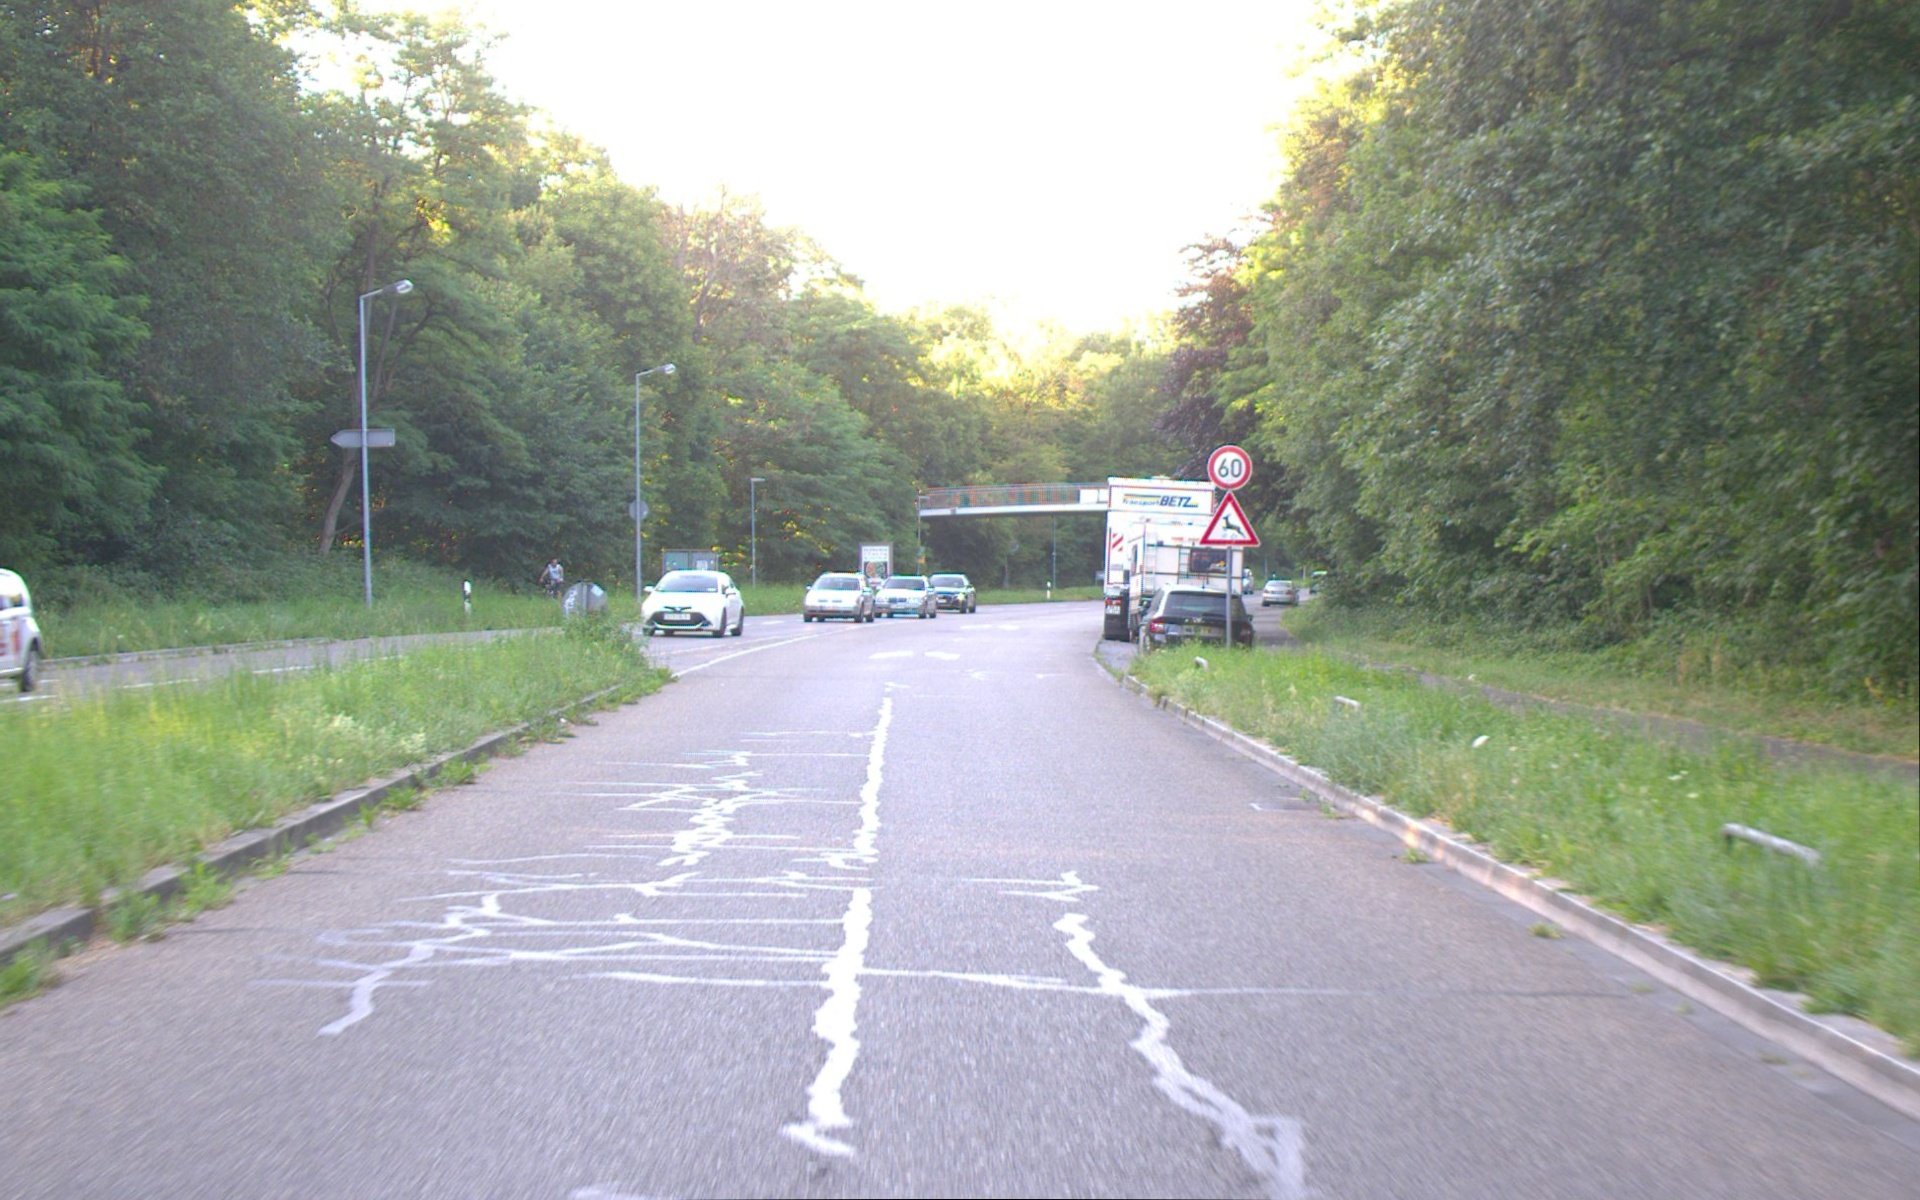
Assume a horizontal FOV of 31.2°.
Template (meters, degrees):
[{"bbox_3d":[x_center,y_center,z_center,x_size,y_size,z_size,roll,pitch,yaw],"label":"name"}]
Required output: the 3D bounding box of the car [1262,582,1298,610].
[{"bbox_3d":[16.914,-0.212,181.704,1.892,1.442,4.109,0,0,6],"label":"car"}]

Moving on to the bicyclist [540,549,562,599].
[{"bbox_3d":[-12.456,-0.793,104.655,0.620,1.506,0.847,-1,1,-8],"label":"bicyclist"}]

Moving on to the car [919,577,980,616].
[{"bbox_3d":[-0.385,-0.153,132.563,1.892,1.435,4.769,2,1,5],"label":"car"}]

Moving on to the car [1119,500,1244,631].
[{"bbox_3d":[5.035,-0.785,78.895,2.408,2.848,5.932,1,0,0],"label":"car"}]

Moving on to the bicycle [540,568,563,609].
[{"bbox_3d":[-12.451,-0.345,104.643,0.630,1.213,2.262,0,1,-8],"label":"bicycle"}]

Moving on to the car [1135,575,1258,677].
[{"bbox_3d":[3.549,0.369,52.117,1.663,1.401,3.942,3,0,2],"label":"car"}]

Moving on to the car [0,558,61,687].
[{"bbox_3d":[-11.812,0.263,39.151,1.994,1.453,3.810,0,-1,3],"label":"car"}]

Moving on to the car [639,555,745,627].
[{"bbox_3d":[-5.880,-0.181,75.826,1.836,1.502,3.937,0,-1,3],"label":"car"}]

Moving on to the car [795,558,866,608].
[{"bbox_3d":[-3.814,-0.508,102.076,1.716,1.441,4.173,0,1,3],"label":"car"}]

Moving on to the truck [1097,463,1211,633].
[{"bbox_3d":[4.920,-1.286,86.898,2.658,4.014,9.721,1,1,3],"label":"truck"}]

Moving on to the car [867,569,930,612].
[{"bbox_3d":[-2.036,-0.336,115.011,1.720,1.392,4.374,1,1,4],"label":"car"}]
